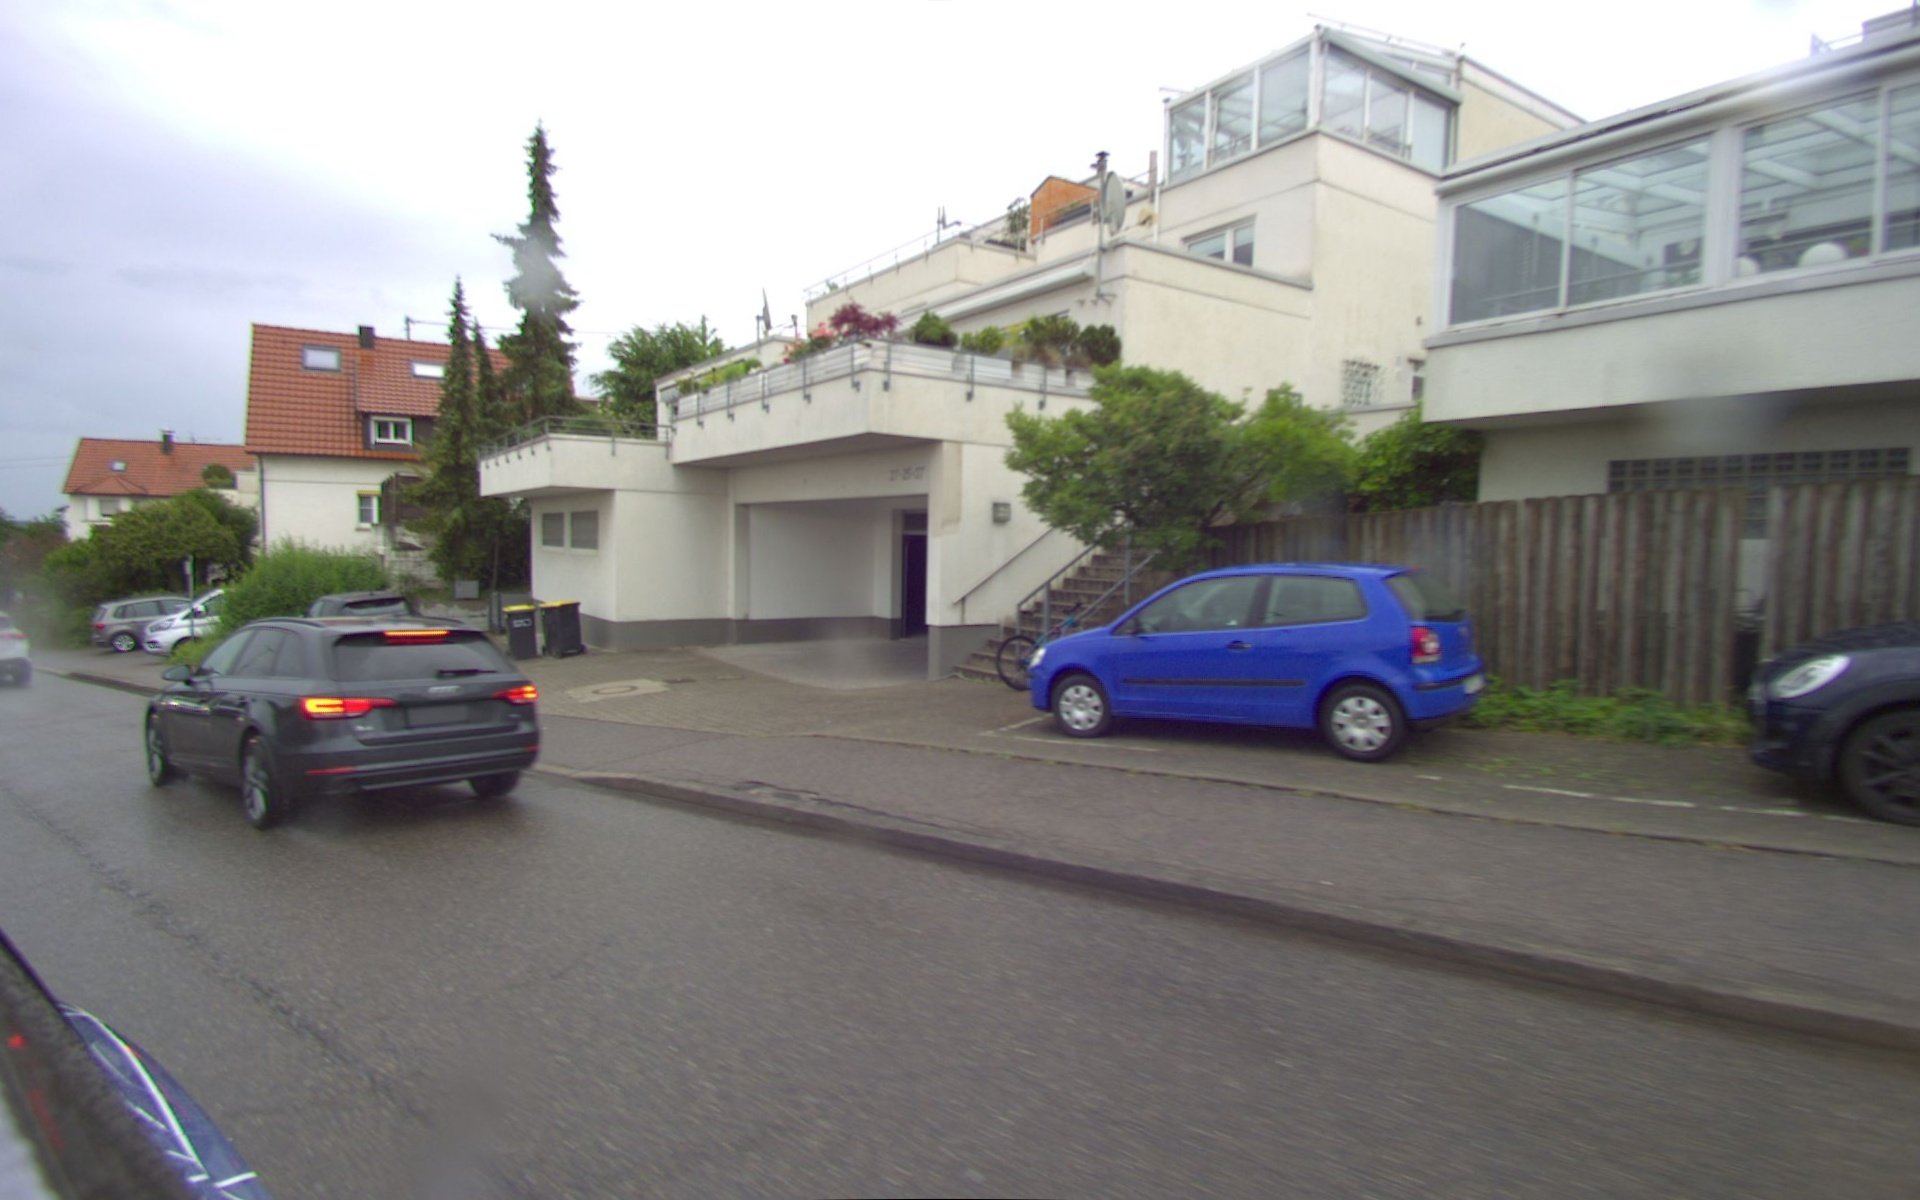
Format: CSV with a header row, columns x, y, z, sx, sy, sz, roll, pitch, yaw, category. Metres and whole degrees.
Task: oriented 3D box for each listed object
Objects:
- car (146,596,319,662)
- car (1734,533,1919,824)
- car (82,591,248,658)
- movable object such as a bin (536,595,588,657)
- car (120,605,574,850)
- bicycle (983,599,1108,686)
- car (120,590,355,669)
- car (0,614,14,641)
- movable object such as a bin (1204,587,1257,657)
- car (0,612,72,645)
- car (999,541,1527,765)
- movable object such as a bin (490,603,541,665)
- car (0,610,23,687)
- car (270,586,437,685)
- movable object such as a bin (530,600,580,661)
x,y,z,sx,sy,sz,roll,pitch,yaw,category
-21.363,0.789,29.918,4.000,1.650,1.899,-3,2,-33,car
6.368,0.340,4.764,4.236,1.406,1.617,-1,4,41,car
-25.528,0.729,32.684,4.003,1.704,1.898,-6,4,-36,car
-7.617,0.483,19.337,0.715,1.078,0.769,-6,5,-32,movable object such as a bin
-5.051,0.817,8.089,4.358,1.448,1.756,-1,-3,40,car
1.129,0.538,13.311,1.542,1.014,0.480,-3,2,-21,bicycle
-19.357,0.728,27.428,5.016,1.959,2.147,0,0,-34,car
-53.430,1.559,55.766,1.745,1.386,4.252,-5,3,-42,car
4.259,0.341,15.940,0.539,1.049,0.563,-3,2,-36,movable object such as a bin
-49.207,1.466,52.998,3.776,1.489,1.808,7,-4,-35,car
2.418,0.365,8.621,3.955,1.444,1.592,-2,3,40,car
-8.649,0.652,19.692,0.715,1.078,0.852,-6,5,-32,movable object such as a bin
-21.774,1.030,21.848,4.381,1.579,1.780,-1,-1,41,car
-12.289,0.667,20.392,4.197,1.599,1.672,-1,6,44,car
-8.023,0.589,20.021,0.715,1.078,0.769,-6,5,-32,movable object such as a bin
